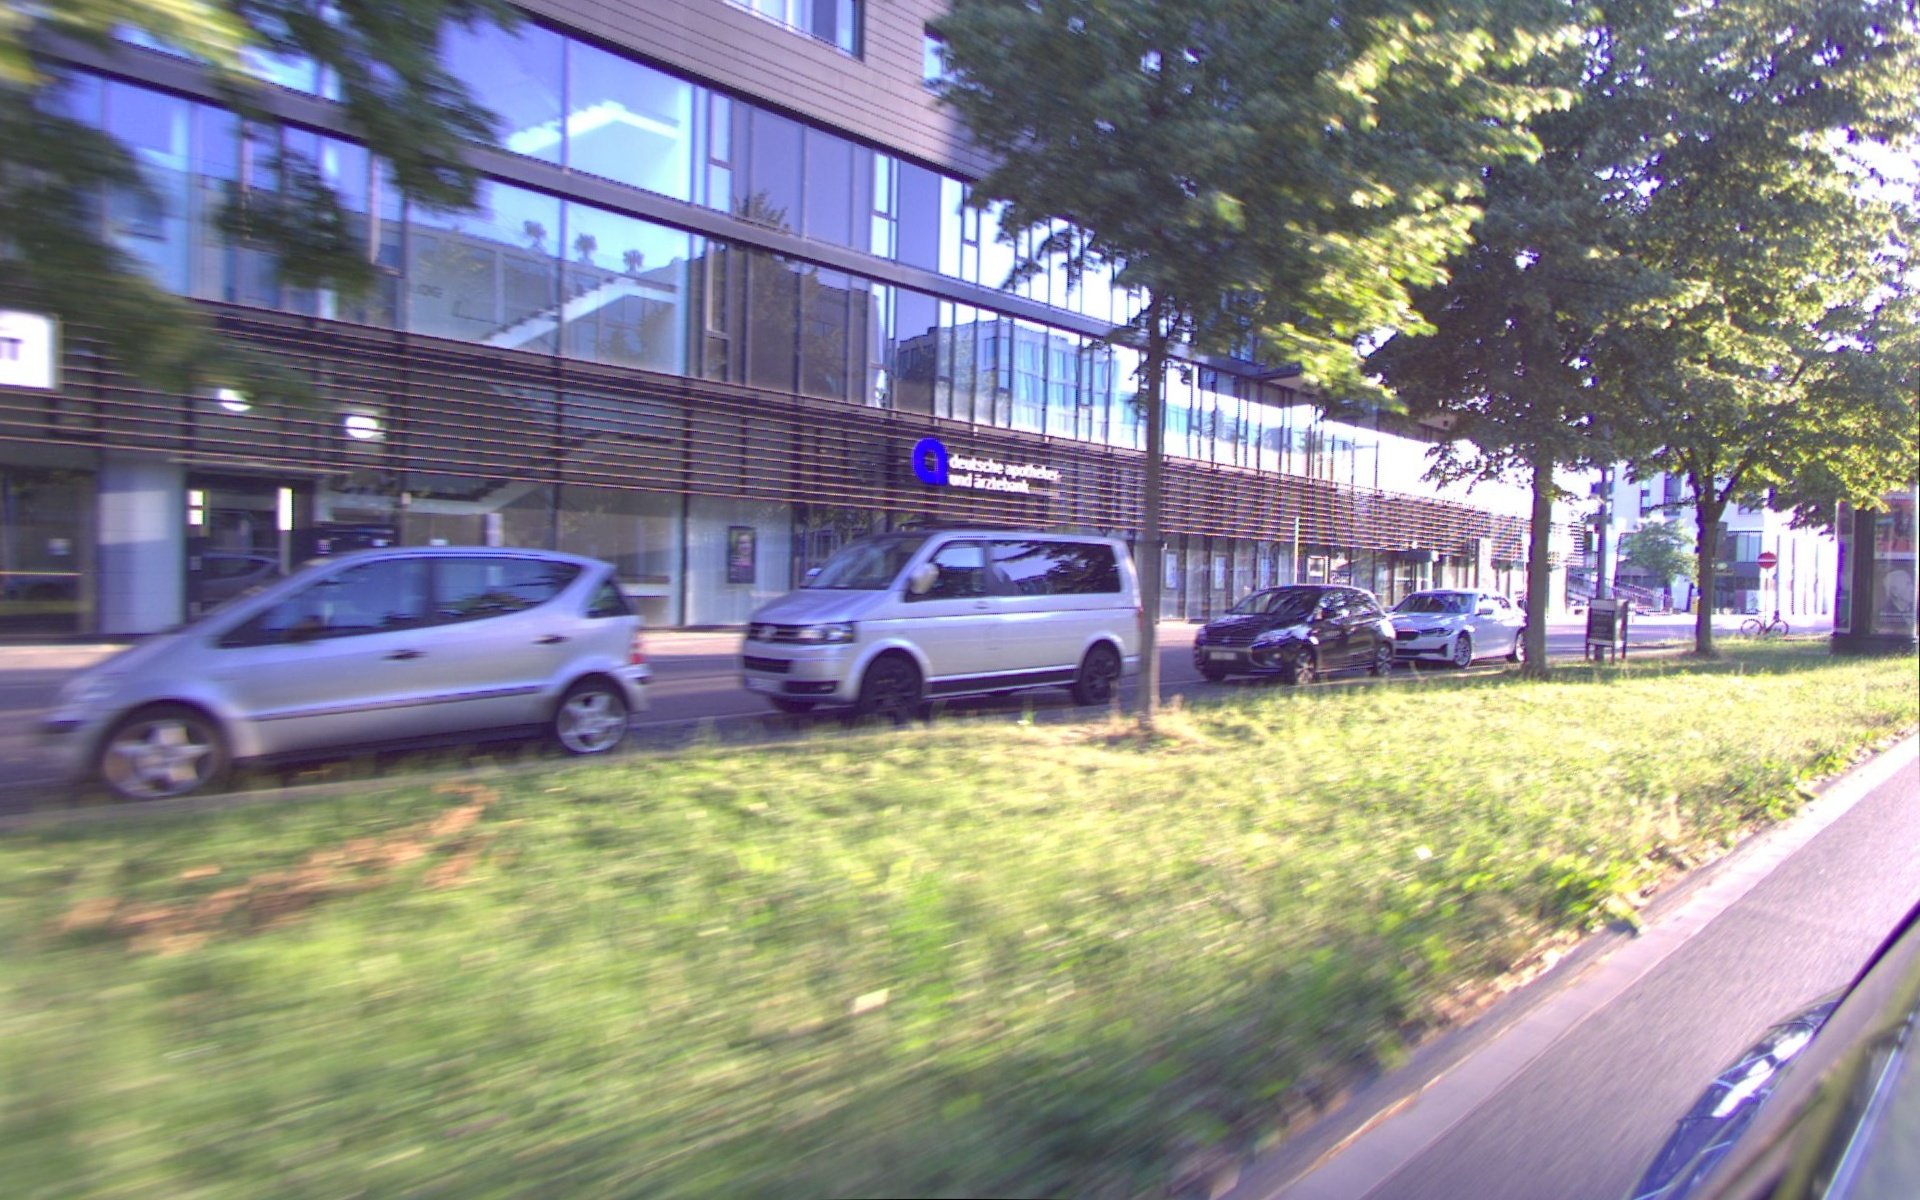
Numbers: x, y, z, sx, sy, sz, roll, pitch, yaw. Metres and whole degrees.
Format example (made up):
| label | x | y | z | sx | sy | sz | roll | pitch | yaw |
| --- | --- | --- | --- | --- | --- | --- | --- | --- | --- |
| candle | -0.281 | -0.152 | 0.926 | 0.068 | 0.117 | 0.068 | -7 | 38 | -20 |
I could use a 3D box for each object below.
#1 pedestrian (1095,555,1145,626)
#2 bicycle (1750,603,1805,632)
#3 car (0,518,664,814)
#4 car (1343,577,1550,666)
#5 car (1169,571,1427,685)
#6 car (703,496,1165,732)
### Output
| label | x | y | z | sx | sy | sz | roll | pitch | yaw |
| --- | --- | --- | --- | --- | --- | --- | --- | --- | --- |
| pedestrian | 4.205 | -0.249 | 26.542 | 0.897 | 1.819 | 0.898 | 0 | 1 | -42 |
| bicycle | 28.574 | 0.596 | 35.401 | 0.355 | 0.921 | 1.726 | 1 | 1 | -8 |
| car | -4.421 | 0.338 | 7.325 | 3.991 | 1.590 | 1.841 | 0 | 1 | -42 |
| car | 9.550 | 0.341 | 19.672 | 4.955 | 1.515 | 1.920 | 0 | 1 | -43 |
| car | 5.278 | 0.358 | 15.539 | 4.214 | 1.515 | 1.863 | 0 | 0 | -40 |
| car | -0.091 | 0.079 | 10.969 | 4.846 | 2.013 | 1.990 | 0 | 2 | -41 |
